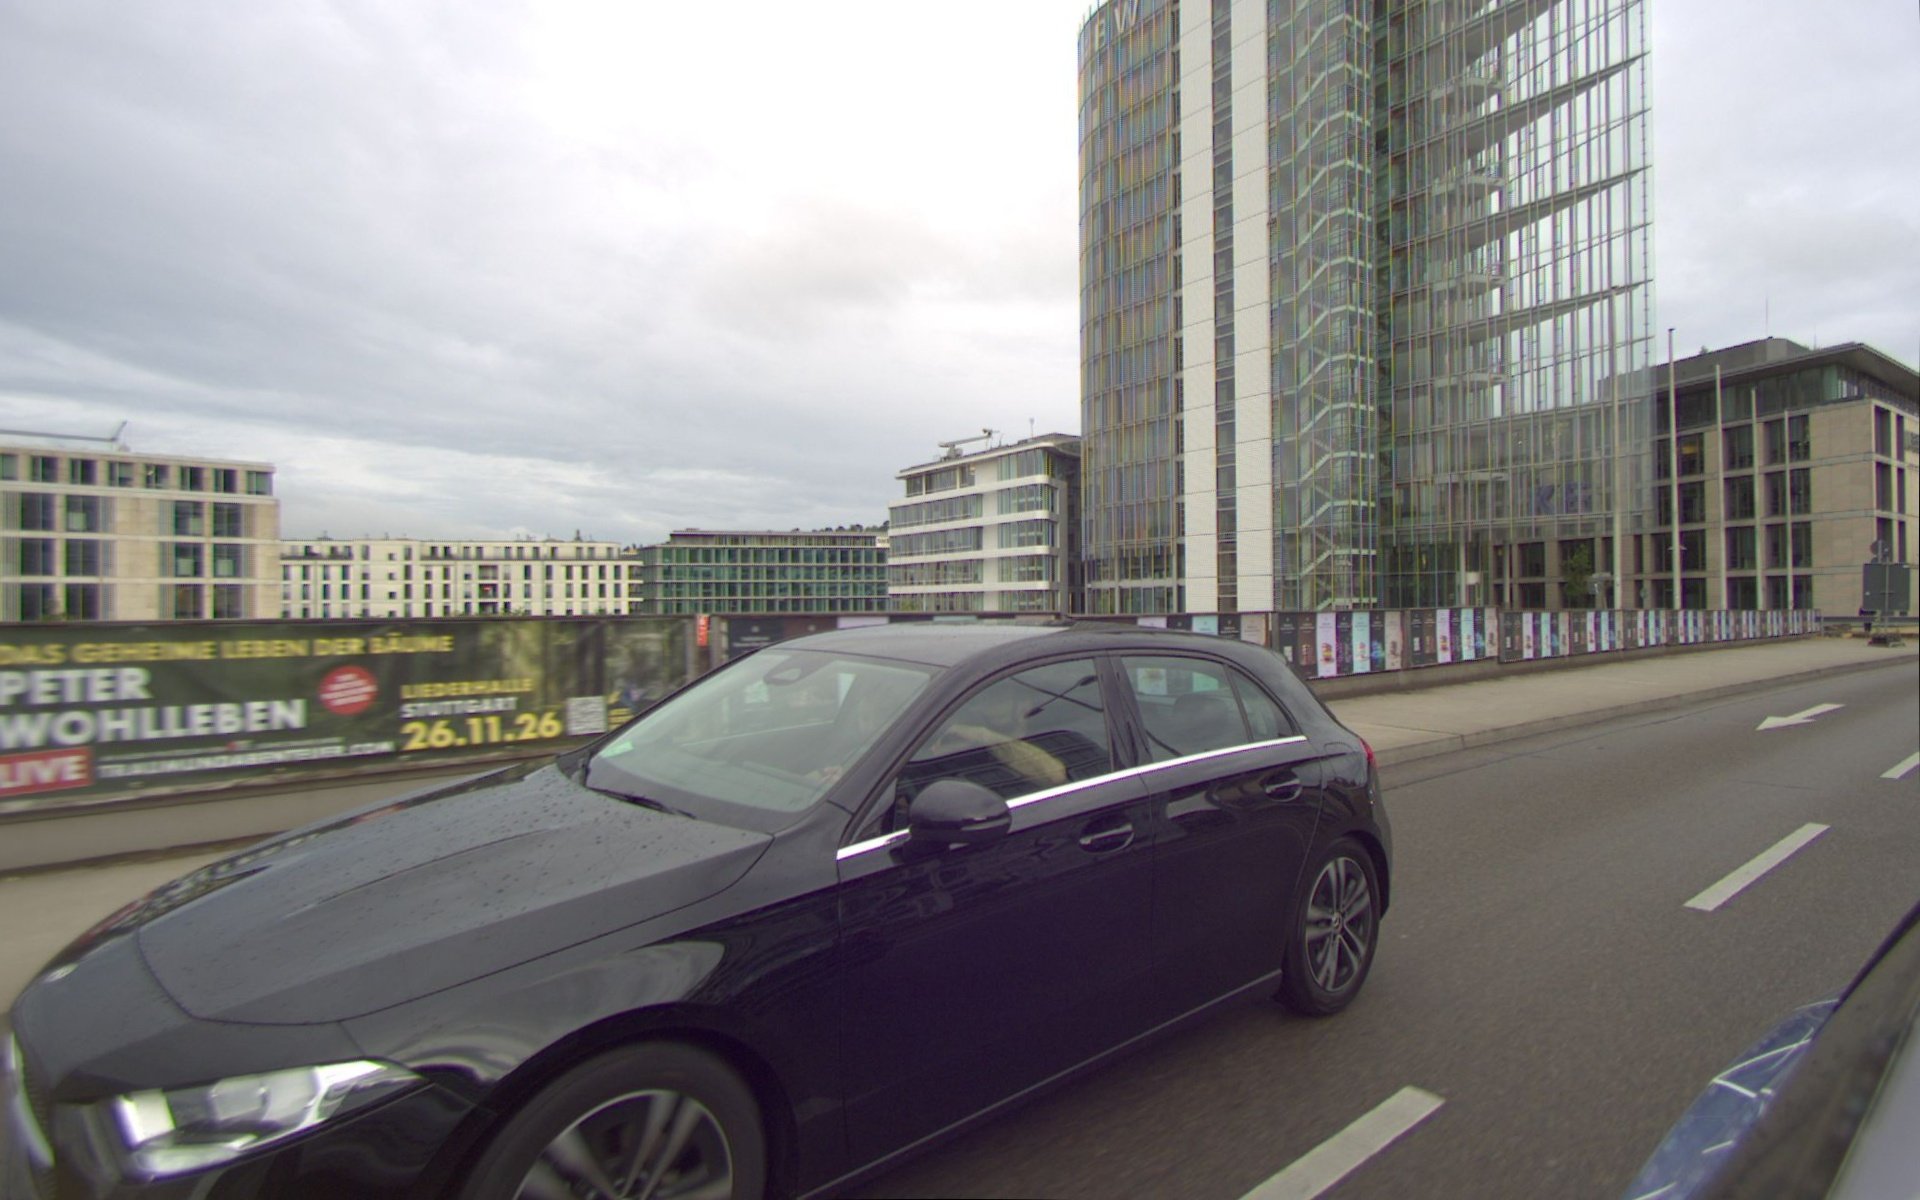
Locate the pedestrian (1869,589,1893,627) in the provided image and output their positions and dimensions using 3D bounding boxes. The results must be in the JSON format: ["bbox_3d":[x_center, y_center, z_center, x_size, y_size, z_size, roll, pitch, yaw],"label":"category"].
[{"bbox_3d":[40.630,0.354,44.652,0.537,1.632,0.660,1,-1,-36],"label":"pedestrian"}]

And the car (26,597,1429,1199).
[{"bbox_3d":[-0.229,0.722,3.310,4.083,1.393,1.726,-1,1,-42],"label":"car"}]

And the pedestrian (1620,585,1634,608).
[{"bbox_3d":[51.841,-0.251,78.652,0.621,1.767,0.637,0,0,-16],"label":"pedestrian"}]
